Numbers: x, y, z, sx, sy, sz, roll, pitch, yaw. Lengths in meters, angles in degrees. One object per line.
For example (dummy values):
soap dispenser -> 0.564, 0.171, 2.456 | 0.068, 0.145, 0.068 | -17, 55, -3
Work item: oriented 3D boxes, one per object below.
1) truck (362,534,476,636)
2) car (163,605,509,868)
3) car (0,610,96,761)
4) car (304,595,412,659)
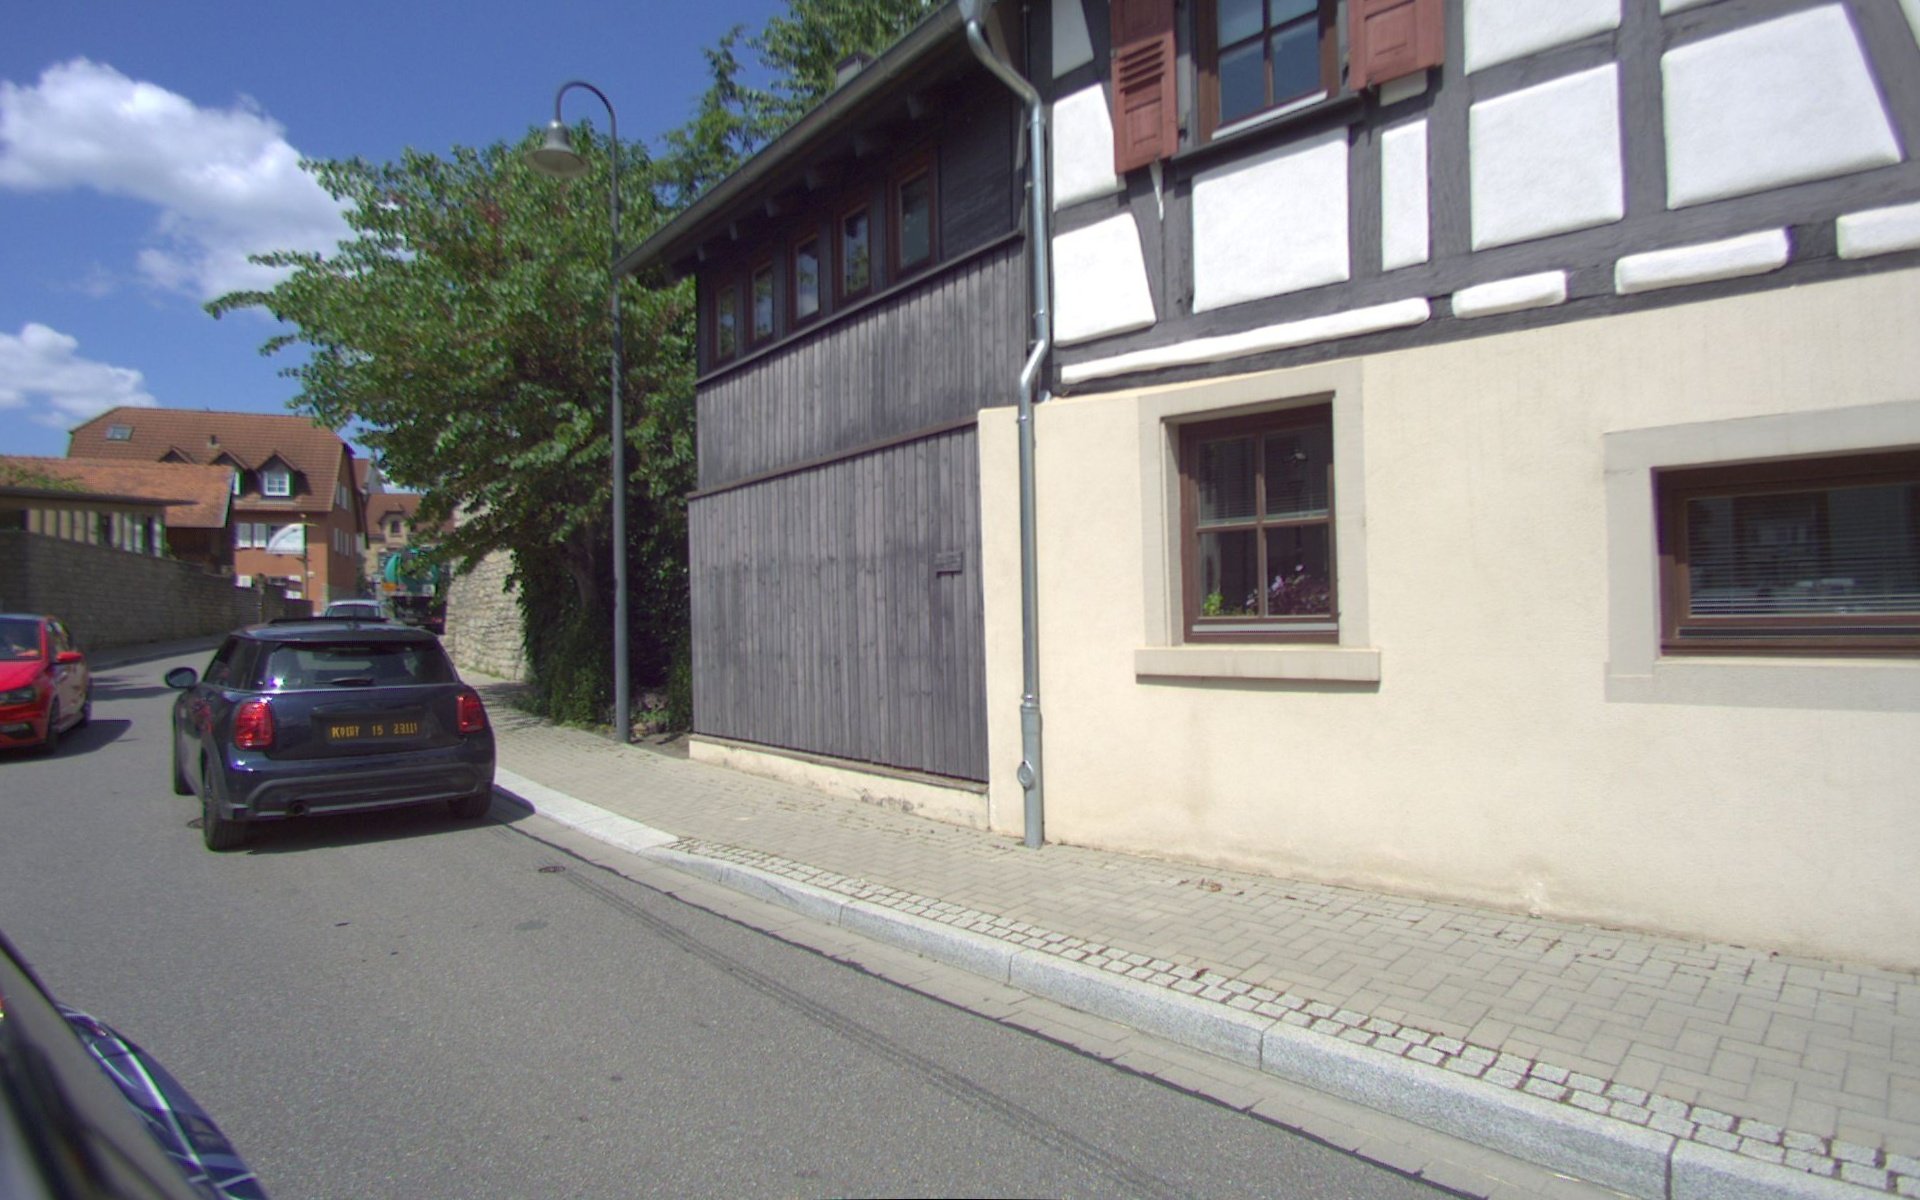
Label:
truck -> -22.030, -0.587, 41.731 | 2.378, 3.685, 9.597 | 1, 0, -17
car -> -5.148, 0.805, 8.029 | 1.677, 1.477, 4.442 | 2, -1, -40
car -> -10.383, 0.805, 10.569 | 1.643, 1.362, 3.503 | 1, -1, -34
car -> -15.774, 0.642, 26.748 | 1.868, 1.511, 4.629 | 1, 0, -24
